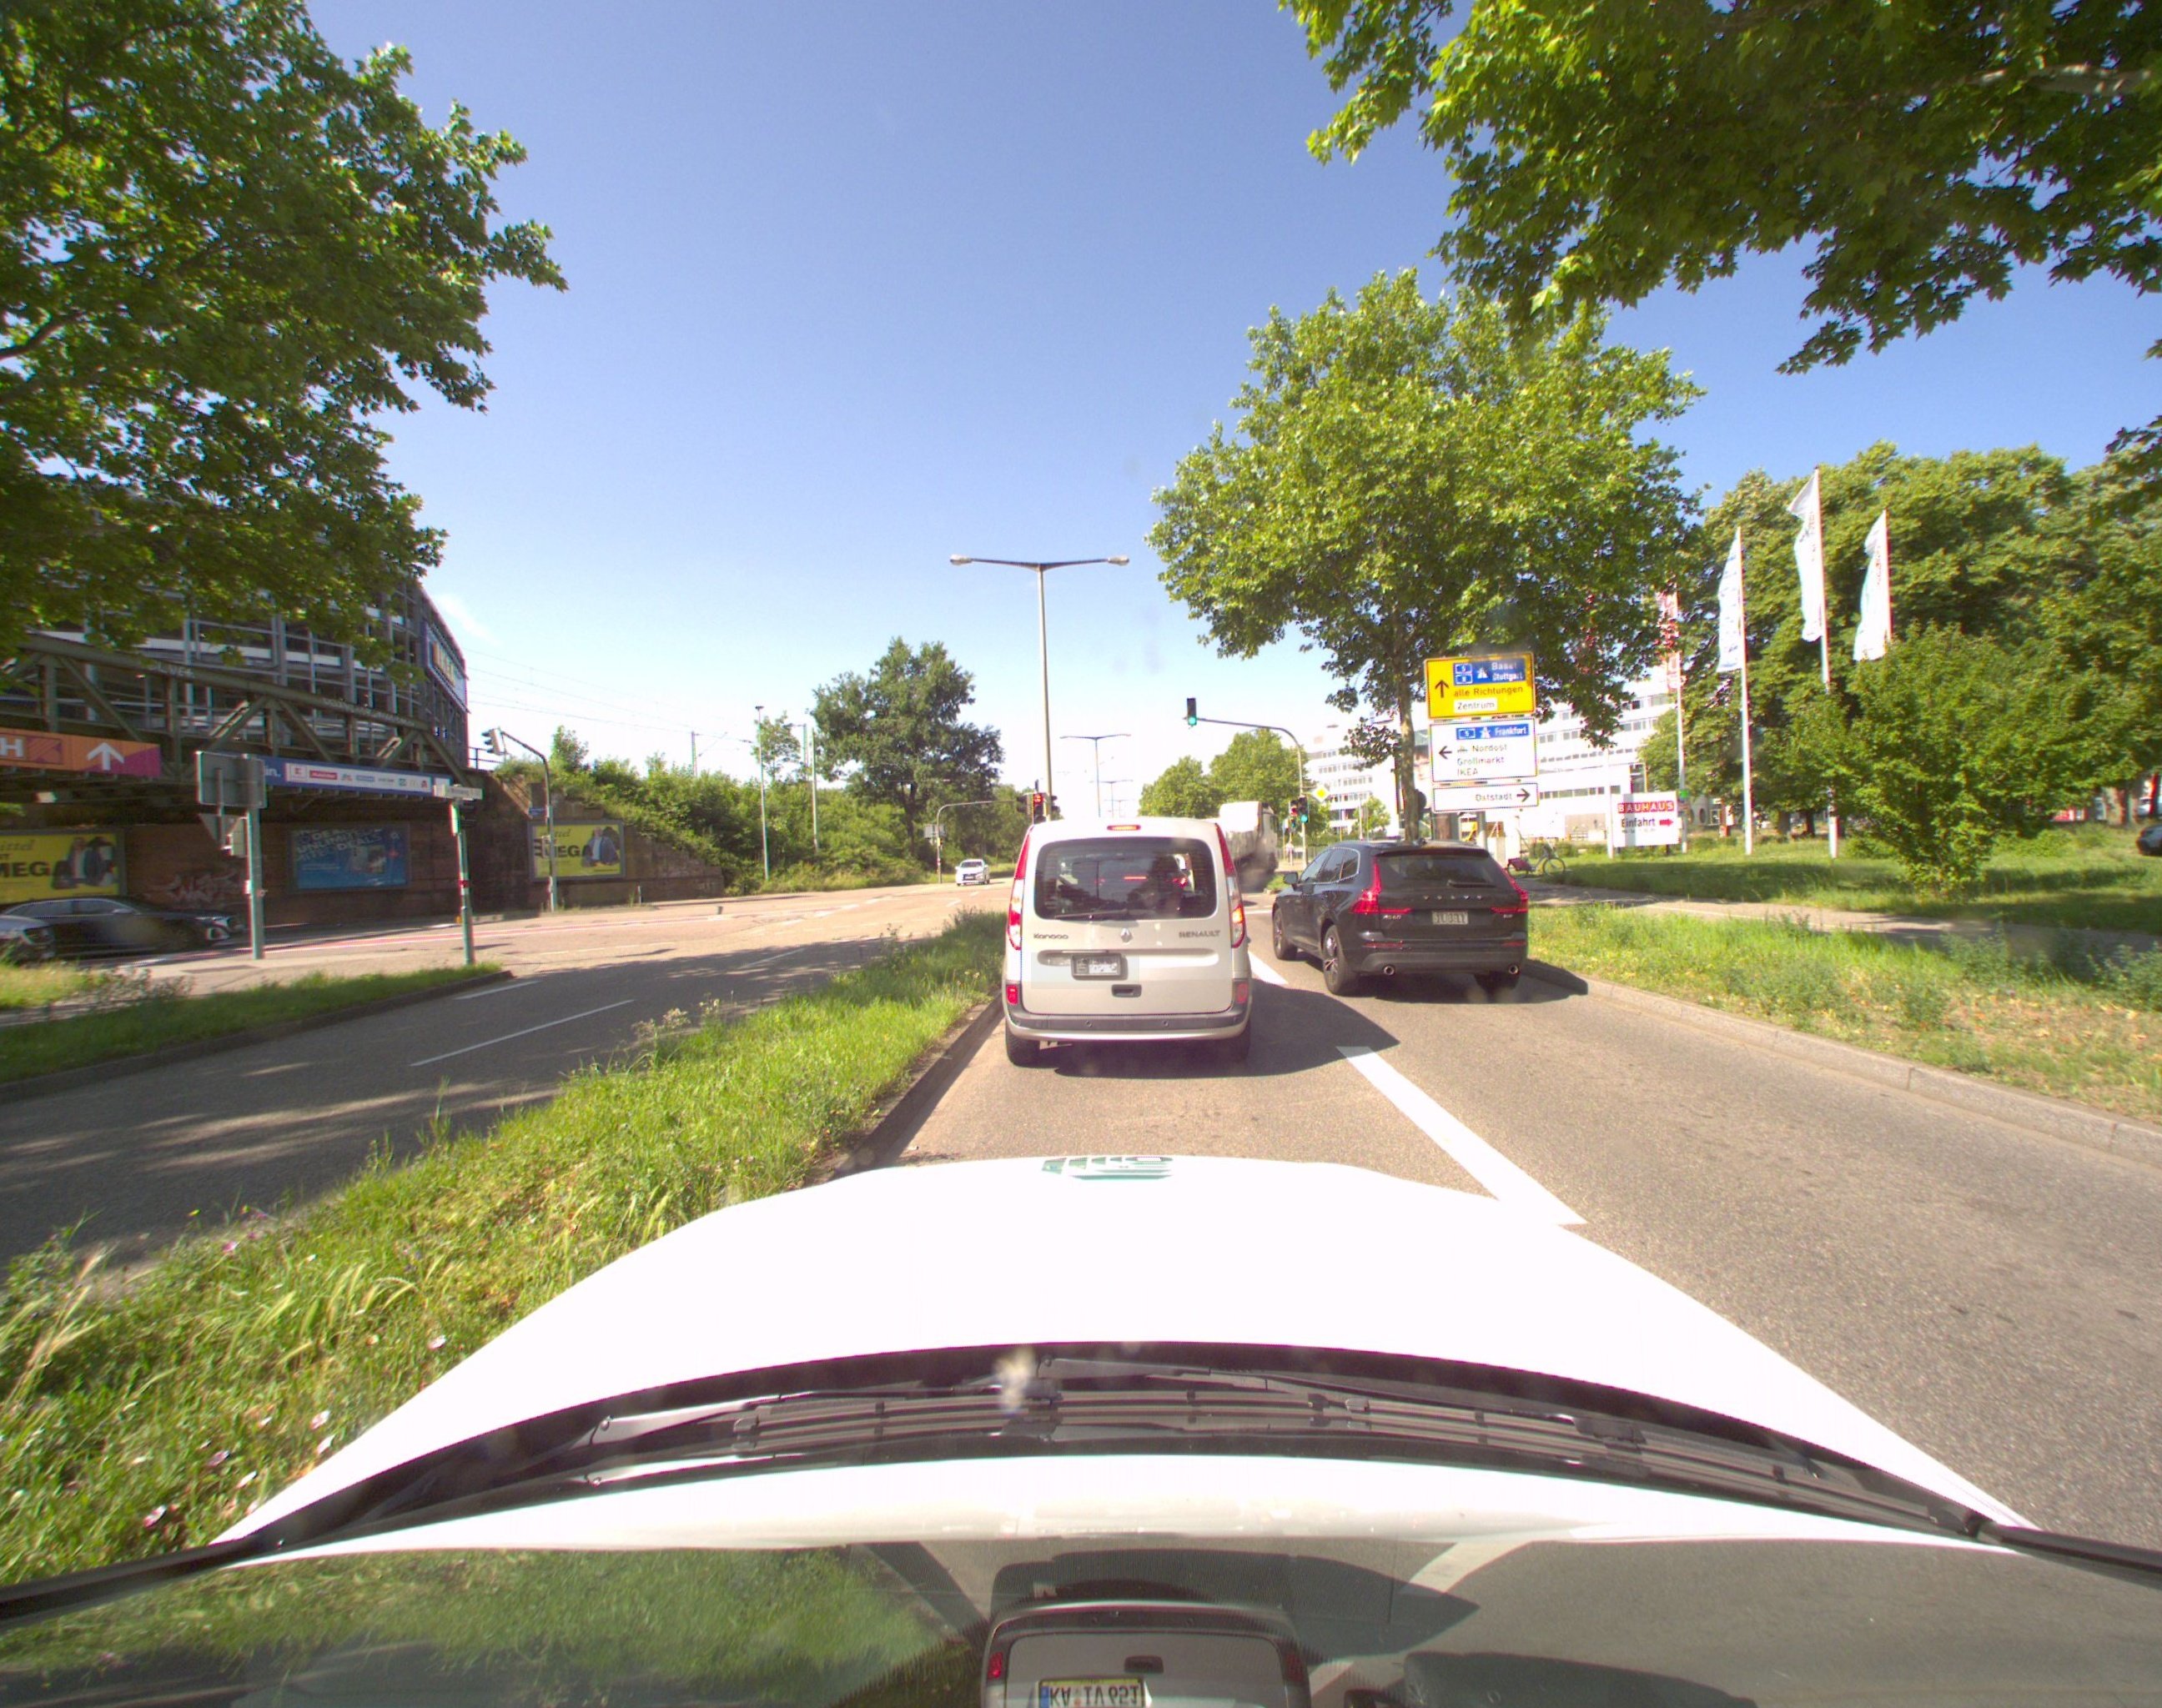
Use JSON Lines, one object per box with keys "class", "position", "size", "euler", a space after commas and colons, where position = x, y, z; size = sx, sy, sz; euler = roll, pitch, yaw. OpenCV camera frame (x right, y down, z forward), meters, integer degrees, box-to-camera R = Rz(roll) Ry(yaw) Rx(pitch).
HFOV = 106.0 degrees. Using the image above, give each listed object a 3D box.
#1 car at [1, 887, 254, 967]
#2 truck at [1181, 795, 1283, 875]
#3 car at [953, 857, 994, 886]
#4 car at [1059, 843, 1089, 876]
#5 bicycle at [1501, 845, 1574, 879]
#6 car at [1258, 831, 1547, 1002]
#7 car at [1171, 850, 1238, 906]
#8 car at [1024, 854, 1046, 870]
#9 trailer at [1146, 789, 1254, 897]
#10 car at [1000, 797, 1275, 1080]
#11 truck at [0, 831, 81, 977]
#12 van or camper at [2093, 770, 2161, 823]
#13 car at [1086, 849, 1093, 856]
{"class": "car", "position": [-25.758, 1.915, 22.259], "size": [4.015, 1.646, 1.885], "euler": [-4, 1, -32]}
{"class": "truck", "position": [7.719, -0.840, 40.826], "size": [2.883, 3.643, 7.233], "euler": [-1, -1, 29]}
{"class": "car", "position": [-6.292, 0.982, 48.101], "size": [1.693, 1.508, 4.002], "euler": [-2, 0, 2]}
{"class": "car", "position": [-0.548, 0.494, 69.753], "size": [1.984, 2.607, 5.140], "euler": [-3, -1, 5]}
{"class": "bicycle", "position": [14.955, 0.253, 26.734], "size": [1.985, 1.014, 0.624], "euler": [-3, 0, 18]}
{"class": "car", "position": [3.510, 0.606, 9.889], "size": [1.868, 1.591, 4.435], "euler": [0, 0, 2]}
{"class": "car", "position": [3.517, 0.664, 23.569], "size": [1.532, 1.514, 3.261], "euler": [0, -1, 2]}
{"class": "car", "position": [-5.144, 0.916, 91.163], "size": [1.902, 1.641, 3.742], "euler": [-3, -1, 5]}
{"class": "trailer", "position": [5.367, -0.326, 33.996], "size": [2.878, 3.622, 12.737], "euler": [-1, -1, 15]}
{"class": "car", "position": [0.427, 0.564, 7.313], "size": [1.779, 1.838, 4.001], "euler": [0, -1, 2]}
{"class": "truck", "position": [-26.316, 1.270, 16.671], "size": [6.890, 3.105, 2.196], "euler": [-4, 1, -32]}
{"class": "van or camper", "position": [63.653, -3.384, 46.483], "size": [2.007, 2.942, 7.213], "euler": [0, -1, -32]}
{"class": "car", "position": [2.695, -0.490, 250.999], "size": [1.880, 2.014, 4.004], "euler": [0, -1, 4]}
